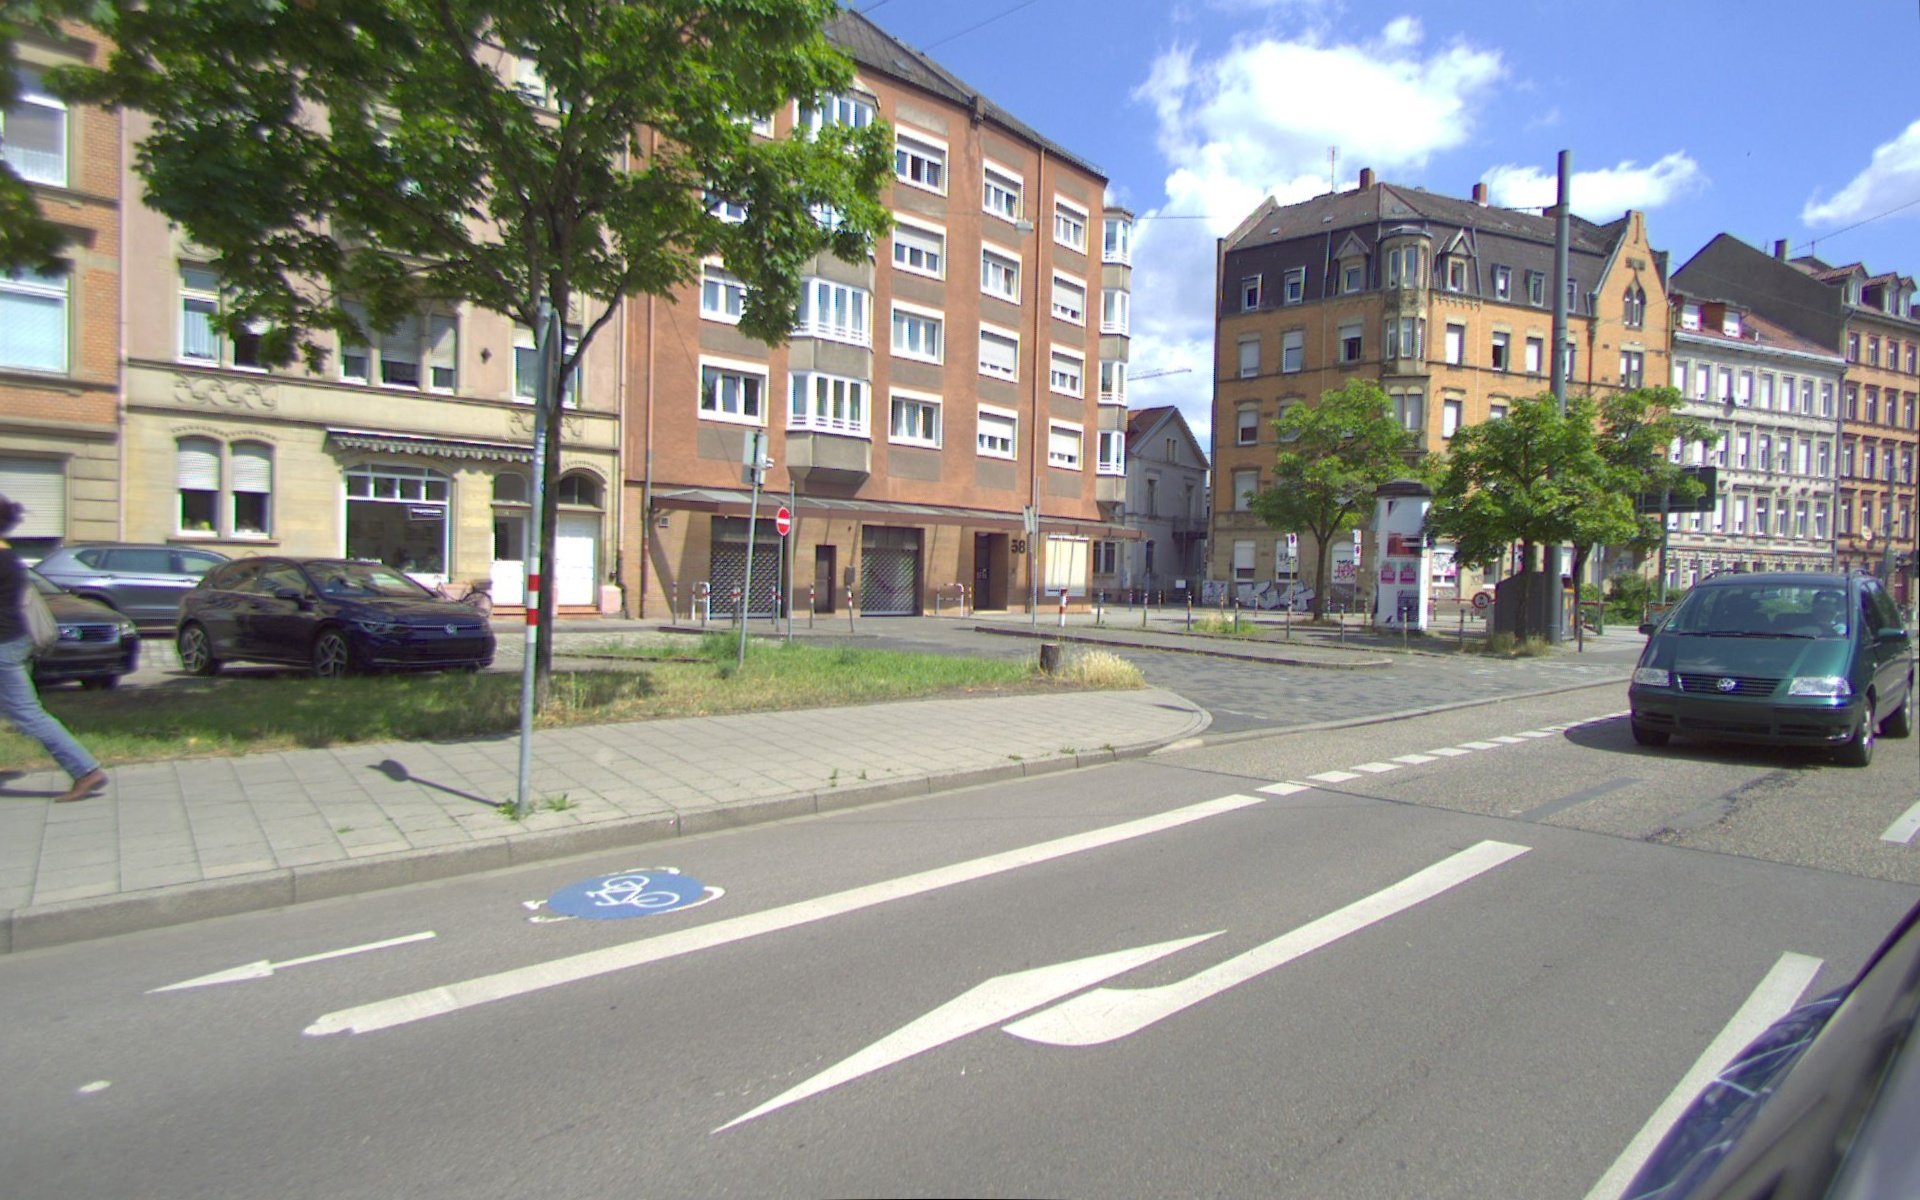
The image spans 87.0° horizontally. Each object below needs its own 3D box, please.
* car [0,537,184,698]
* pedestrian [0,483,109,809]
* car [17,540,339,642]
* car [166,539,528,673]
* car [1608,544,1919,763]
[{"bbox_3d":[-10.099,0.143,9.989,3.944,1.397,1.952,0,1,17],"label":"car"},{"bbox_3d":[-5.351,0.225,5.550,1.027,1.724,0.701,-1,4,-42],"label":"pedestrian"},{"bbox_3d":[-13.947,-0.193,18.345,4.414,1.635,1.837,-1,1,-38],"label":"car"},{"bbox_3d":[-7.357,0.037,12.136,3.961,1.371,1.944,0,1,27],"label":"car"},{"bbox_3d":[8.644,0.359,10.461,4.941,1.778,1.823,-2,2,-39],"label":"car"}]
